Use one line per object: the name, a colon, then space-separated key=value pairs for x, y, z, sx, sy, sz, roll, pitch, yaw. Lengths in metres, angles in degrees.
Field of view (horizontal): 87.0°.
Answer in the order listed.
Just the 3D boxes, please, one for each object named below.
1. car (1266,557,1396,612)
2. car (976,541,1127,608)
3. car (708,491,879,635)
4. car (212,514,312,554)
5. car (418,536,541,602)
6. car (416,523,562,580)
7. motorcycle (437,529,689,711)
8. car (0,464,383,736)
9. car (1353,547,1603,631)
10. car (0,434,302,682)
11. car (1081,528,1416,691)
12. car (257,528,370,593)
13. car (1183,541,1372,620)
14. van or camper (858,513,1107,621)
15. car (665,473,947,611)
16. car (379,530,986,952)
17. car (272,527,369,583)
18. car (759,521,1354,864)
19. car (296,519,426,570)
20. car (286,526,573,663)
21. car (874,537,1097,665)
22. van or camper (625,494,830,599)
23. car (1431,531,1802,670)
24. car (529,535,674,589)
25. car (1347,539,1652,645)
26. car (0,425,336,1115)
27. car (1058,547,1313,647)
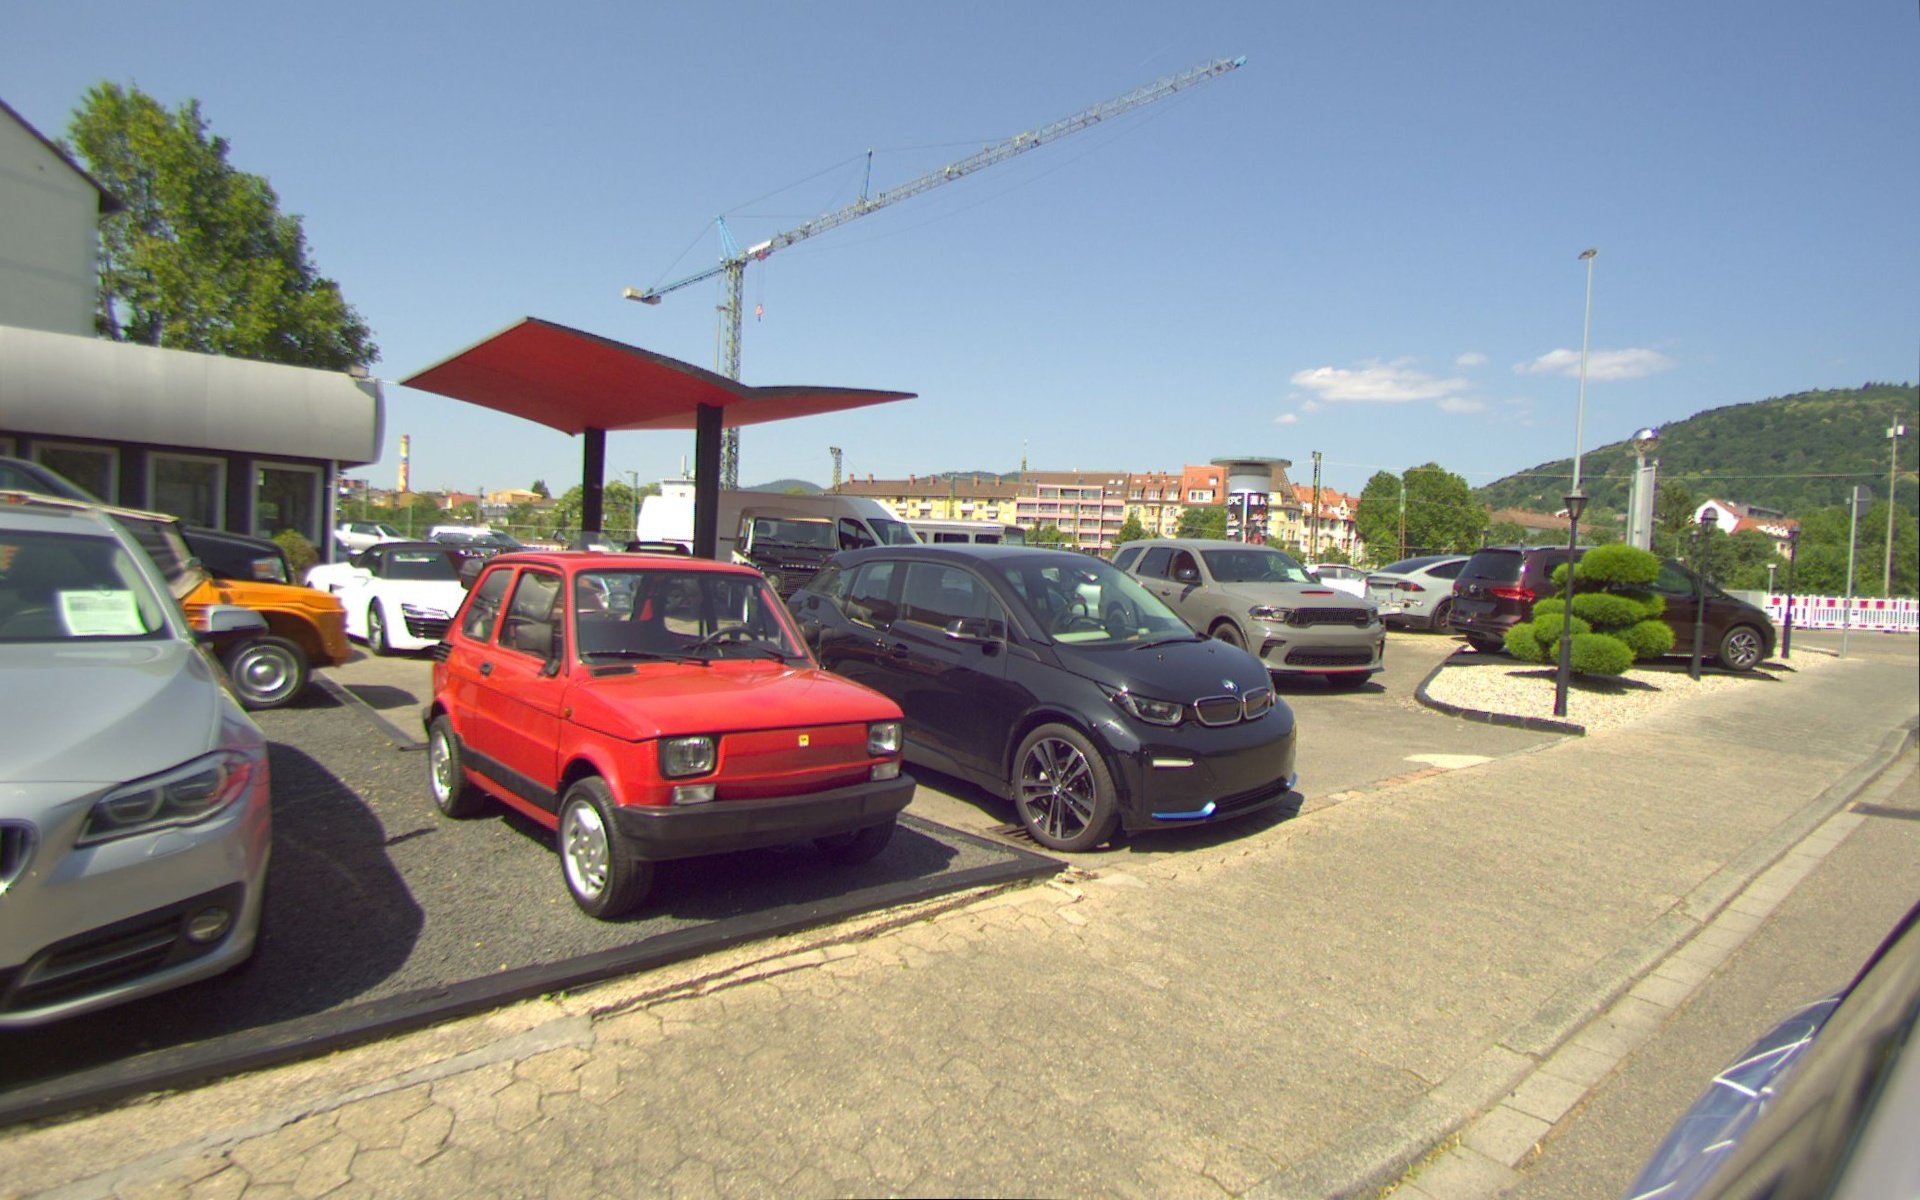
car: x=12.368 y=-0.542 z=33.895 sx=3.951 sy=1.660 sz=1.987 roll=2 pitch=2 yaw=21
car: x=2.305 y=-0.672 z=26.222 sx=3.688 sy=1.569 sz=1.648 roll=1 pitch=2 yaw=0
car: x=-3.089 y=-0.701 z=17.887 sx=1.885 sy=2.176 sz=4.589 roll=2 pitch=3 yaw=-23
car: x=-30.898 y=-2.932 z=44.812 sx=3.960 sy=1.660 sz=1.983 roll=3 pitch=3 yaw=26
car: x=-11.756 y=-0.796 z=24.612 sx=1.889 sy=1.460 sz=4.333 roll=0 pitch=3 yaw=-37
car: x=-15.085 y=-1.562 z=32.618 sx=3.969 sy=1.660 sz=1.728 roll=1 pitch=2 yaw=-12
motorcycle: x=-3.766 y=0.096 z=9.448 sx=2.678 sy=1.450 sz=0.996 roll=4 pitch=3 yaw=39
car: x=-6.662 y=-0.050 z=7.387 sx=3.931 sy=1.749 sz=1.997 roll=0 pitch=3 yaw=-42
car: x=11.405 y=-0.256 z=22.389 sx=4.716 sy=1.713 sz=2.022 roll=1 pitch=2 yaw=-14
car: x=-8.787 y=-0.398 z=8.815 sx=1.995 sy=2.038 sz=4.829 roll=5 pitch=4 yaw=44
car: x=3.558 y=0.004 z=13.714 sx=1.884 sy=1.784 sz=5.010 roll=1 pitch=2 yaw=-17
car: x=-15.562 y=-0.968 z=24.299 sx=1.727 sy=1.397 sz=3.485 roll=2 pitch=2 yaw=-42
car: x=7.558 y=-0.487 z=24.412 sx=3.926 sy=1.727 sz=1.861 roll=2 pitch=2 yaw=2
van or camper: x=0.492 y=-0.809 z=23.694 sx=5.453 sy=2.289 sz=2.093 roll=2 pitch=2 yaw=27
car: x=-3.438 y=-1.265 z=22.248 sx=5.961 sy=2.712 sz=2.239 roll=2 pitch=2 yaw=27
car: x=-1.655 y=0.366 z=5.124 sx=1.532 sy=1.351 sz=3.556 roll=0 pitch=3 yaw=-42
car: x=-18.096 y=-1.287 z=28.576 sx=1.727 sy=1.397 sz=3.485 roll=2 pitch=2 yaw=-42
car: x=0.398 y=0.329 z=6.830 sx=1.729 sy=1.644 sz=3.809 roll=0 pitch=3 yaw=-42
car: x=-21.549 y=-1.985 z=36.520 sx=3.650 sy=1.660 sz=1.728 roll=1 pitch=2 yaw=-12
car: x=-6.764 y=-0.162 z=12.702 sx=4.117 sy=1.334 sz=1.919 roll=6 pitch=4 yaw=43
car: x=0.190 y=-0.106 z=15.597 sx=1.884 sy=1.655 sz=4.589 roll=1 pitch=3 yaw=-19
van or camper: x=-5.956 y=-1.394 z=25.910 sx=4.881 sy=2.466 sz=1.985 roll=3 pitch=2 yaw=24
car: x=9.443 y=-0.031 z=14.776 sx=4.205 sy=1.803 sz=1.856 roll=1 pitch=3 yaw=-5
car: x=-10.919 y=-1.174 z=31.064 sx=3.969 sy=1.497 sz=1.728 roll=1 pitch=2 yaw=-12
car: x=10.148 y=-0.176 z=19.265 sx=4.720 sy=1.801 sz=2.020 roll=1 pitch=2 yaw=-6
car: x=-3.765 y=0.266 z=3.666 sx=1.864 sy=1.515 sz=4.411 roll=0 pitch=3 yaw=-41
car: x=3.879 y=-0.107 z=17.935 sx=4.138 sy=1.553 sz=1.921 roll=2 pitch=2 yaw=9
